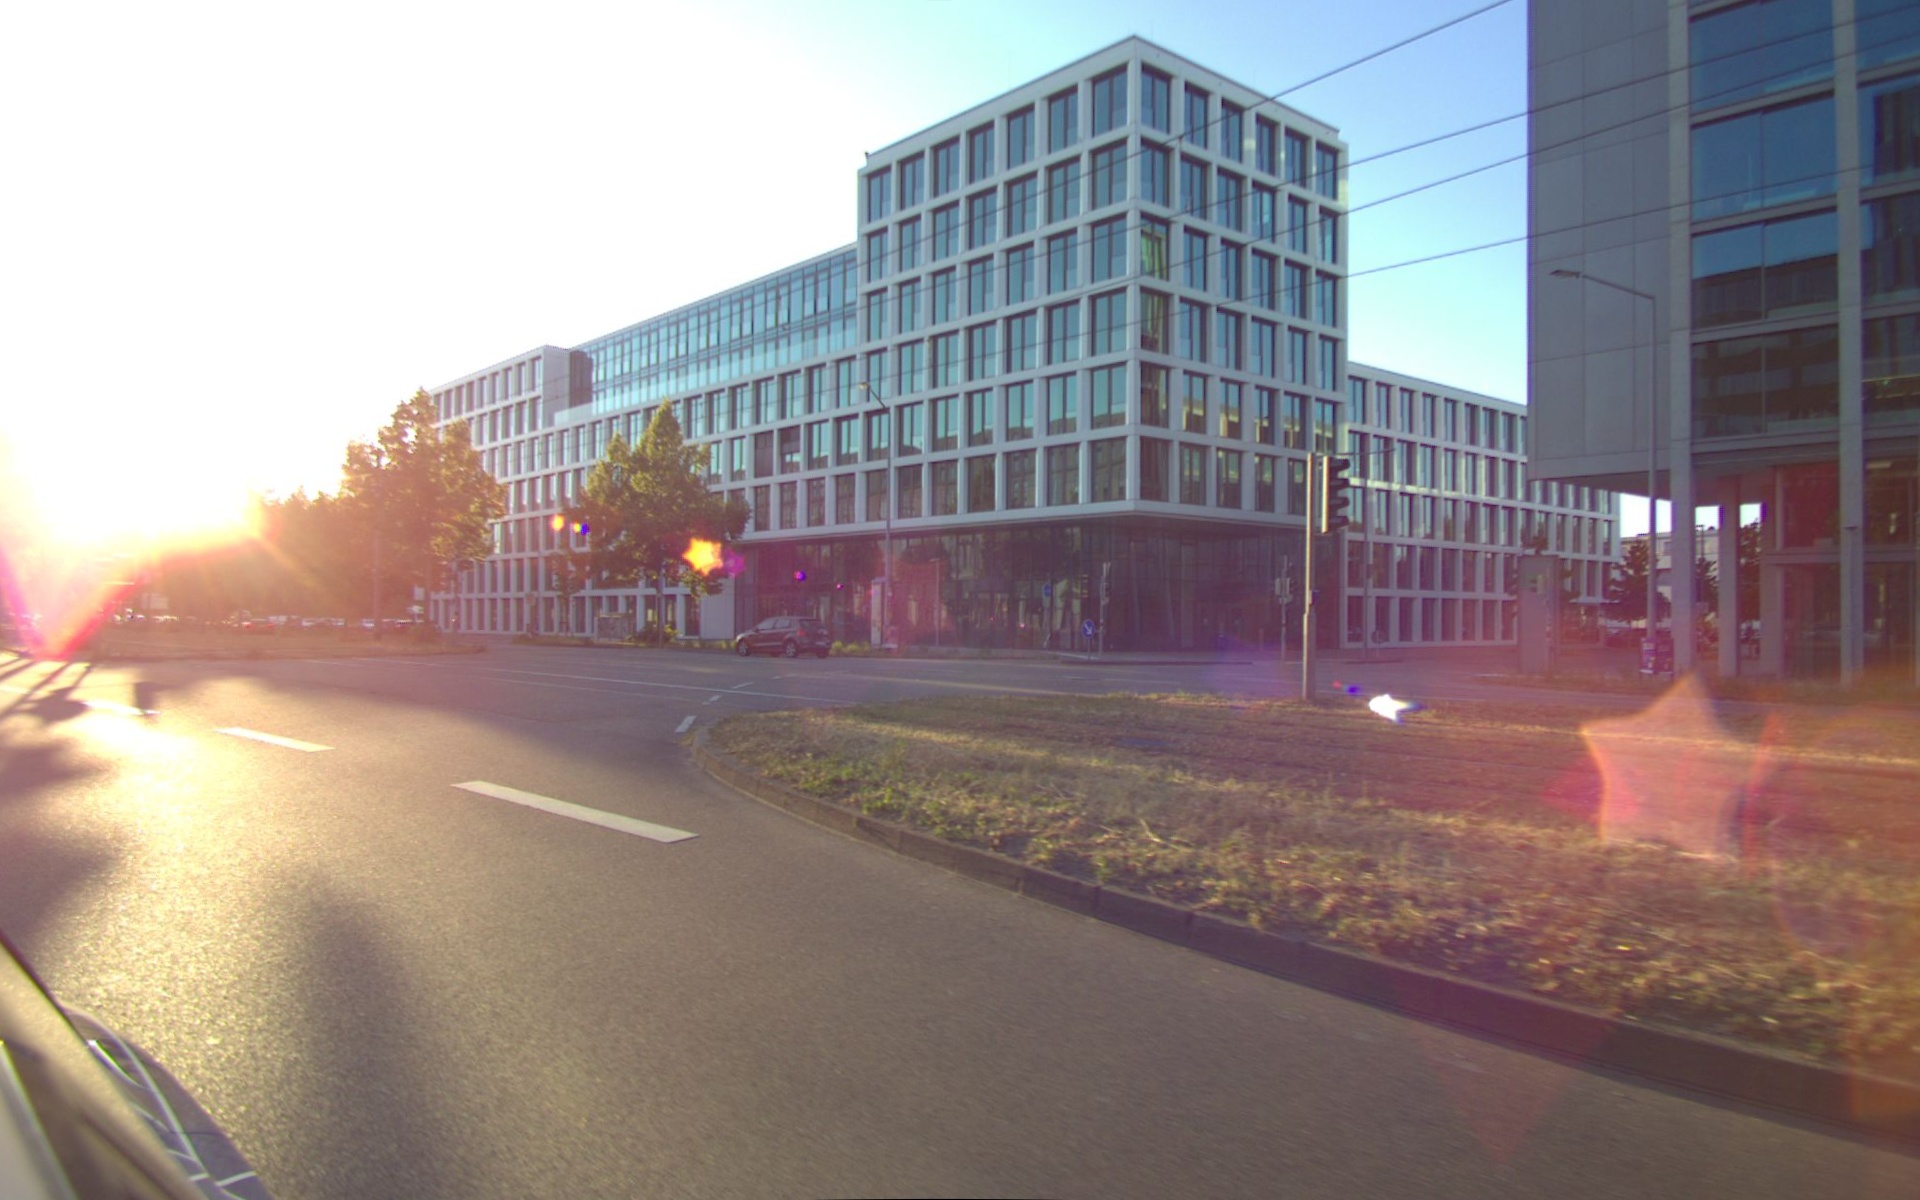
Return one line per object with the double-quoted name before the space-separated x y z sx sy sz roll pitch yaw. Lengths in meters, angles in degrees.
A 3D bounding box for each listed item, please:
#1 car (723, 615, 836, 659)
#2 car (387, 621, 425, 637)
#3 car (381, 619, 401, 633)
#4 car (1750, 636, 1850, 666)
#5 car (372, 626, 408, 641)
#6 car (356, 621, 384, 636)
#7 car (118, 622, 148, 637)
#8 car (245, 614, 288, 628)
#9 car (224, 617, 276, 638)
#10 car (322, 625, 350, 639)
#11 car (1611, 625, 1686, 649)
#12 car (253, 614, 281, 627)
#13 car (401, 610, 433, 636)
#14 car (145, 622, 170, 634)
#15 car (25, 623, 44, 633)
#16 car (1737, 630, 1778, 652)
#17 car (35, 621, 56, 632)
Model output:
"car" -6.356 1.280 35.556 3.992 1.460 1.626 -1 -2 36
"car" -50.962 2.659 93.037 3.997 1.413 1.741 -1 -2 41
"car" -71.889 3.286 127.888 1.822 1.826 4.010 1 -2 -35
"car" 46.708 2.805 56.330 1.676 1.567 4.009 1 -2 -36
"car" -55.135 3.228 97.859 3.997 1.413 1.741 -1 -2 41
"car" -66.580 3.223 114.250 1.969 1.604 4.005 1 -2 -42
"car" -81.797 2.916 100.109 3.997 1.413 1.628 -1 -2 41
"car" -87.343 2.623 127.442 1.998 1.754 4.031 -1 -2 39
"car" -51.089 1.947 72.819 4.897 1.445 1.972 -1 -2 42
"car" -71.253 3.641 115.577 1.969 1.604 4.341 1 -2 -42
"car" 48.312 2.568 71.073 1.970 1.677 4.004 1 -2 -43
"car" -89.834 2.676 131.191 4.609 1.754 1.972 -1 -2 42
"car" -63.929 2.671 119.130 2.132 3.014 5.730 1 -2 -40
"car" -96.256 3.301 121.348 3.997 1.413 1.628 -1 -2 41
"car" -138.621 4.150 151.617 3.997 1.413 1.628 -1 -2 41
"car" 69.718 3.546 88.447 3.745 1.807 1.813 1 -2 -36
"car" -124.788 3.609 138.040 3.997 1.413 1.628 -1 -2 41
